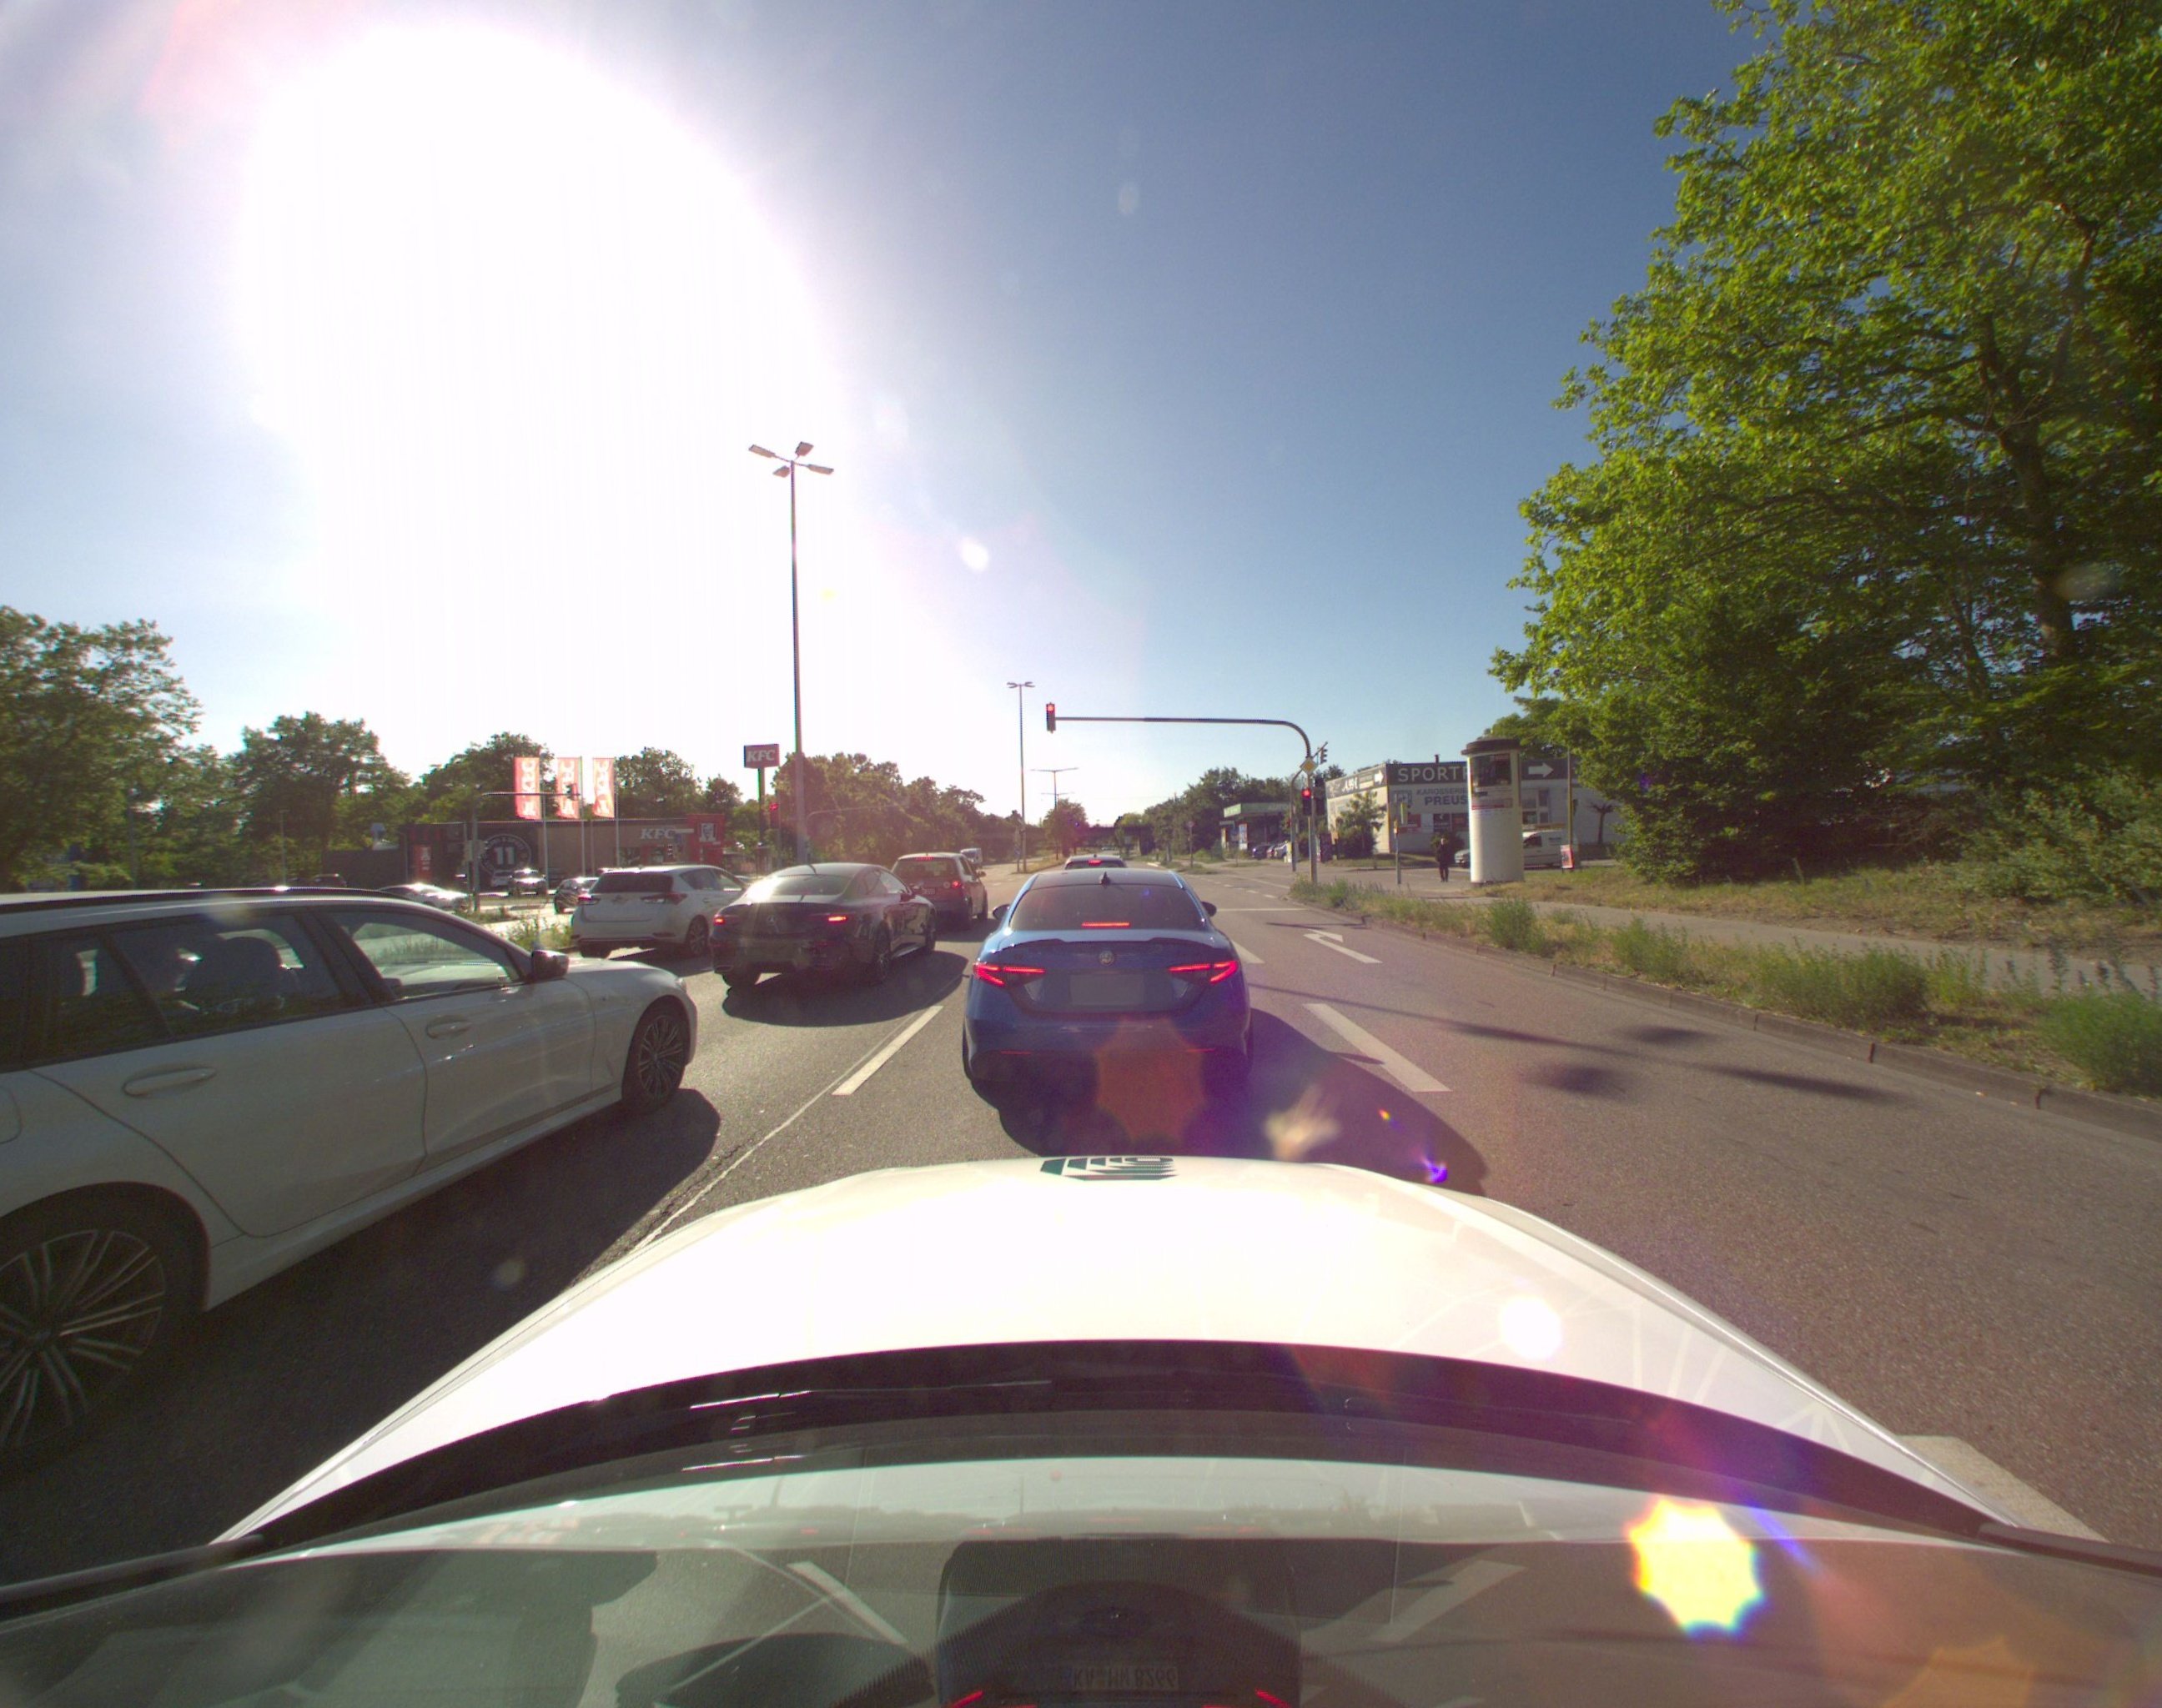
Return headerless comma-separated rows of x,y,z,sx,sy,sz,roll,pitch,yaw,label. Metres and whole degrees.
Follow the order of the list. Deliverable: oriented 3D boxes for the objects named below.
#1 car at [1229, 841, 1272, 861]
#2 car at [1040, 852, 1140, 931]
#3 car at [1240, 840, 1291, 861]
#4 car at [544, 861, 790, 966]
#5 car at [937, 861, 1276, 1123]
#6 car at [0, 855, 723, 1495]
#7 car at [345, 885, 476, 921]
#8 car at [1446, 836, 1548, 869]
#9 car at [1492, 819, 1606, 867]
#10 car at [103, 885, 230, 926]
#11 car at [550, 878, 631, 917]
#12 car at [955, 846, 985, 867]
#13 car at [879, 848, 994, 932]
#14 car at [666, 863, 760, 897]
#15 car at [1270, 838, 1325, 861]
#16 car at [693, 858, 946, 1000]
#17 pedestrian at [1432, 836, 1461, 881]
15.393,-0.260,73.979,3.489,1.706,1.687,-1,0,-14,car
0.233,0.696,17.209,1.859,1.450,3.933,-1,0,2,car
16.049,-0.296,70.770,3.997,1.706,1.685,-1,0,-18,car
-6.809,0.878,14.041,1.850,1.429,4.405,-1,0,2,car
0.201,0.783,6.492,1.859,1.385,3.933,-1,0,2,car
-3.430,0.792,3.373,1.762,1.509,4.463,-1,0,2,car
-31.345,2.284,38.169,4.699,1.429,1.866,-1,0,4,car
21.958,-0.084,43.074,4.393,1.553,1.999,-1,0,-2,car
22.636,-0.524,39.475,4.393,2.145,1.999,-1,0,-2,car
-42.995,2.414,38.351,3.972,1.728,1.759,-1,0,1,car
-20.868,1.852,34.606,3.999,1.429,1.836,-3,0,43,car
-13.043,0.273,96.108,2.422,2.427,5.833,-1,0,2,car
-3.014,0.693,17.734,1.642,1.598,3.933,-1,0,2,car
-19.199,1.331,42.609,4.028,1.595,1.822,-1,0,-4,car
17.519,-0.365,65.876,3.993,1.706,1.687,-1,0,-15,car
-3.142,0.807,10.846,1.762,1.414,4.463,-1,0,2,car
14.247,0.177,31.775,0.818,1.721,0.856,-2,0,9,pedestrian
